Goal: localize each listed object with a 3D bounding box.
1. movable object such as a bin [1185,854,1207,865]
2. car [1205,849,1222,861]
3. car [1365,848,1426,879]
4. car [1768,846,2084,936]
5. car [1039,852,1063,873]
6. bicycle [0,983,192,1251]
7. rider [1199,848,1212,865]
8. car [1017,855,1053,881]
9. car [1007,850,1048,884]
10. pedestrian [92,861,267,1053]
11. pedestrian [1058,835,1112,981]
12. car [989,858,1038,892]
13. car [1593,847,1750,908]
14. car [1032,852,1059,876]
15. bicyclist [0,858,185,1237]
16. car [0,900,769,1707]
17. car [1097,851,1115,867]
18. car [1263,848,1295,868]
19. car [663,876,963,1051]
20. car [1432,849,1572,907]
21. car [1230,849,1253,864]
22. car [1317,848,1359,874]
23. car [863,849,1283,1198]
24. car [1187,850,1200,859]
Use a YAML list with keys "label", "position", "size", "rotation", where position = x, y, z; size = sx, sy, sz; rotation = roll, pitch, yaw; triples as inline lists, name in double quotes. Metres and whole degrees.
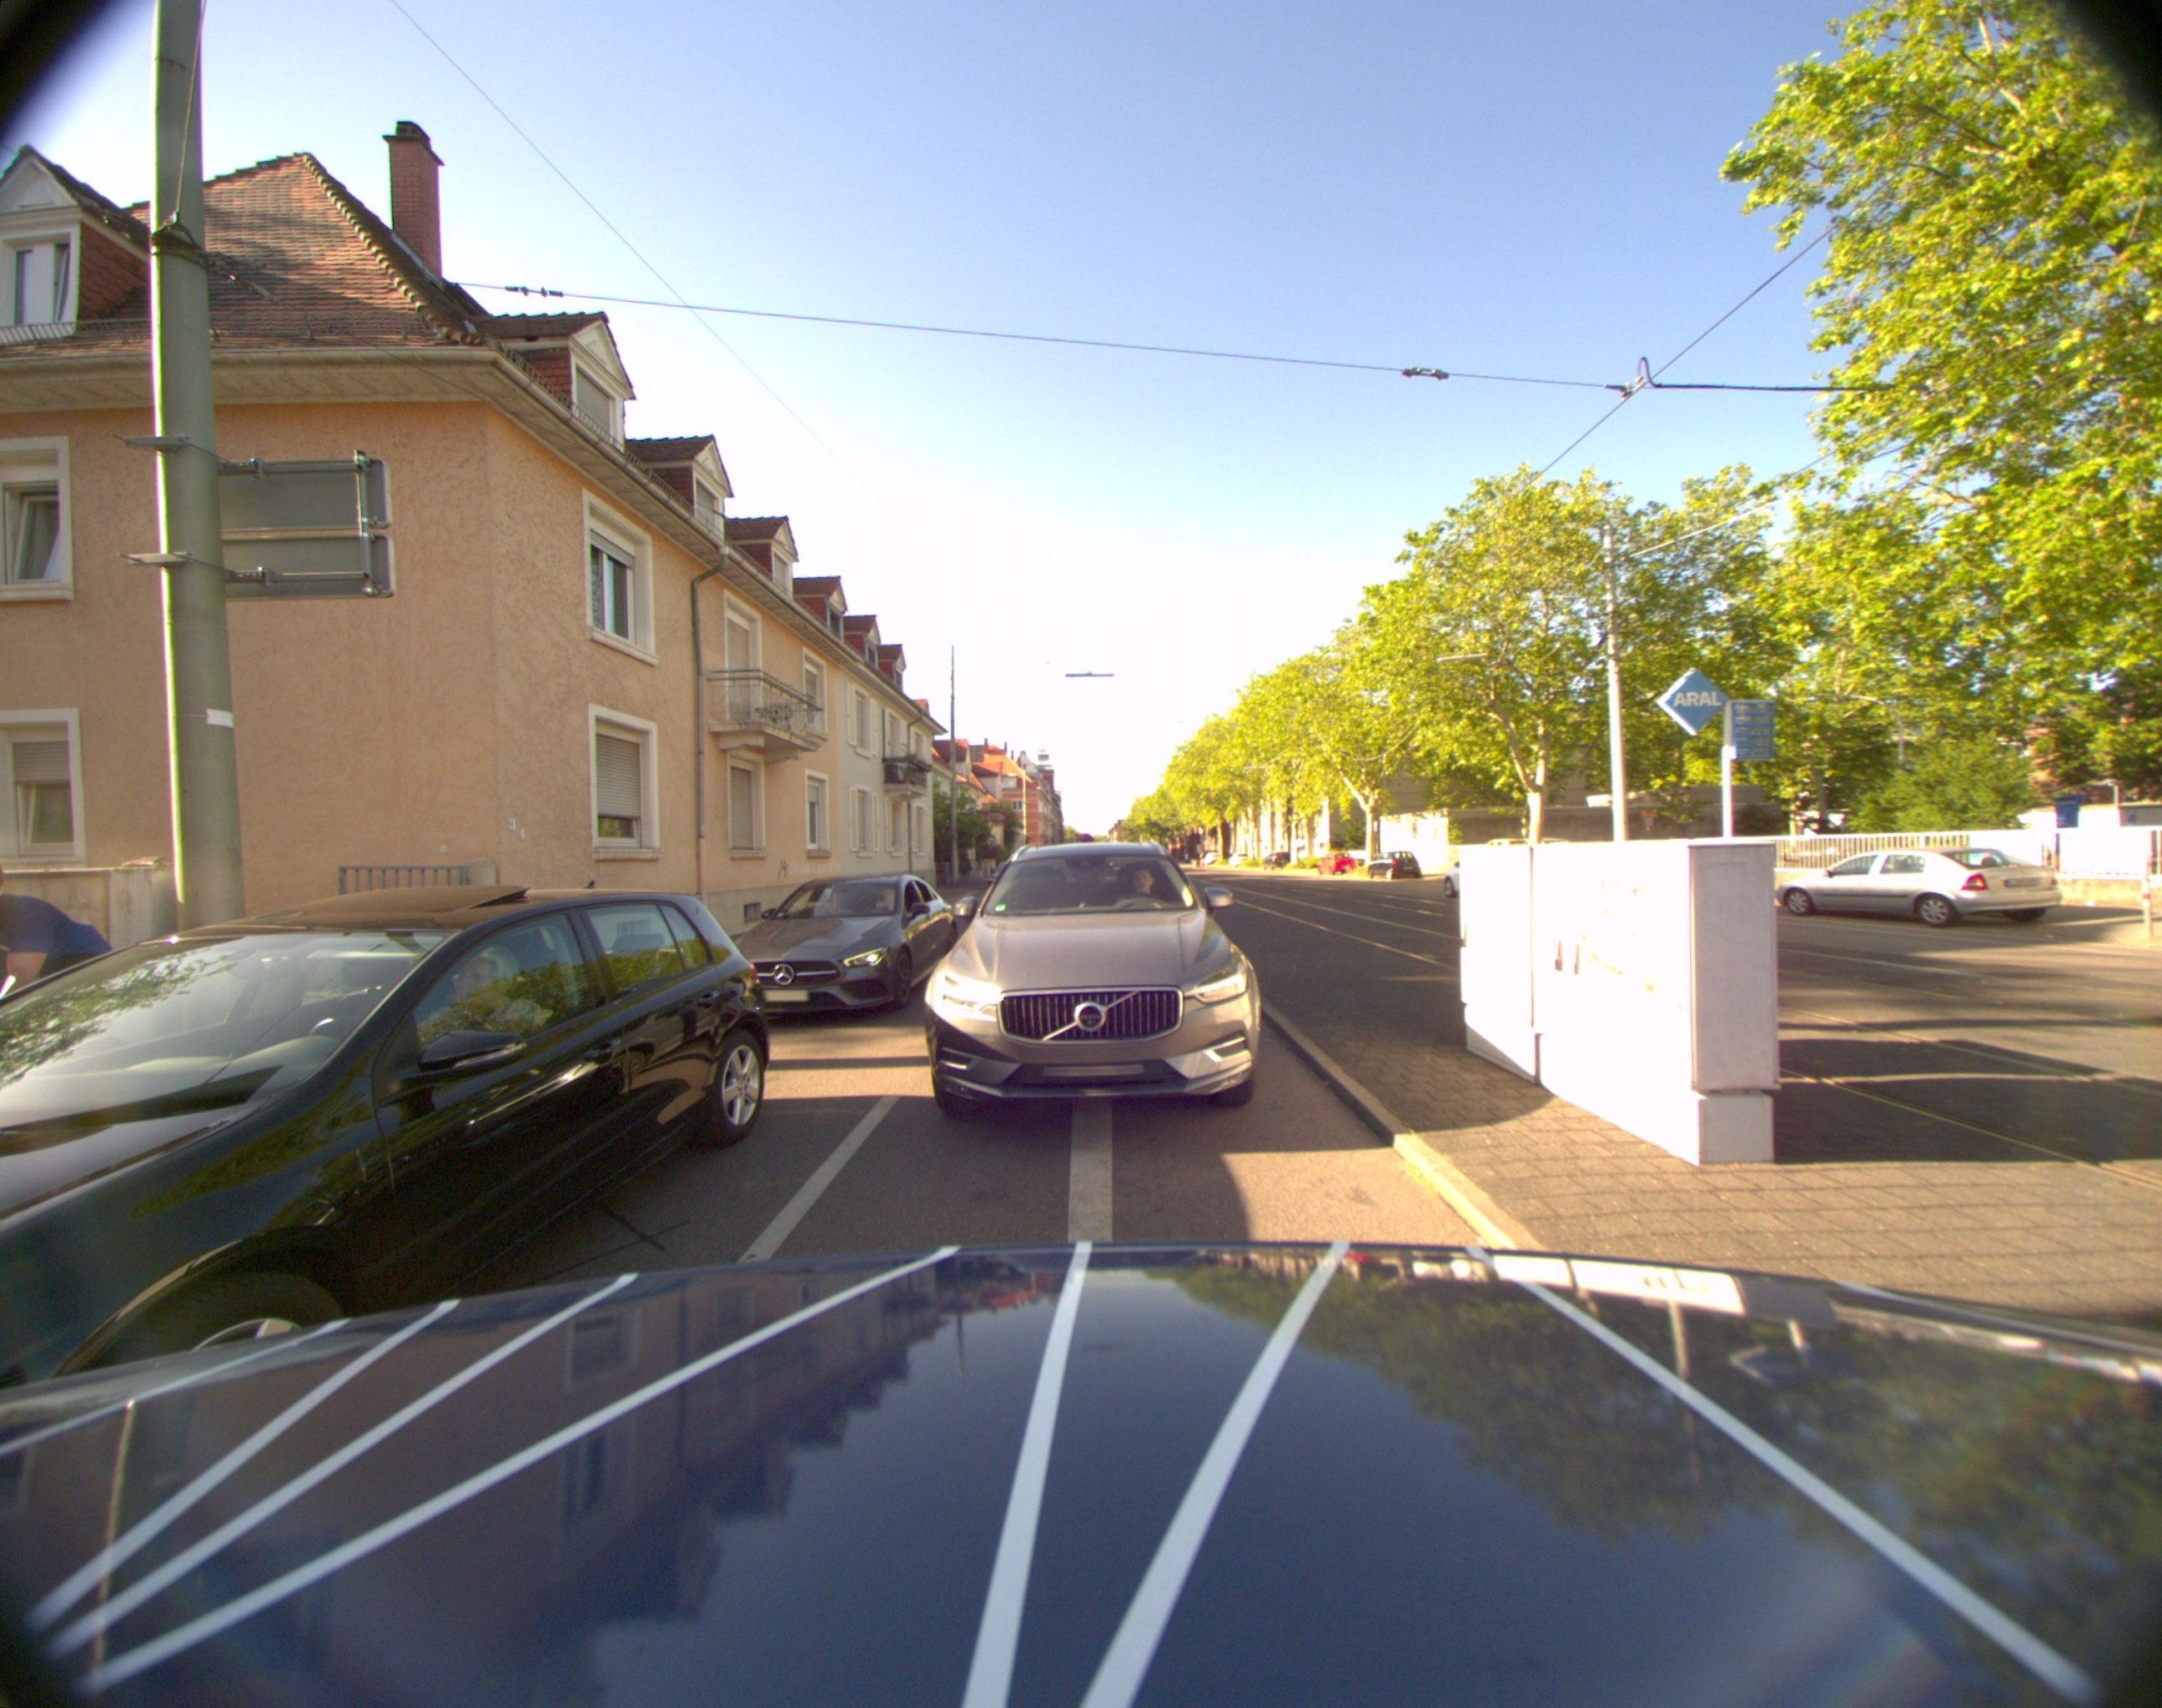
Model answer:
- label: "movable object such as a bin"
  position: [11.687, 0.546, 77.276]
  size: [1.180, 1.097, 1.830]
  rotation: [-3, 1, -35]
- label: "car"
  position: [17.560, 0.112, 100.664]
  size: [1.661, 1.452, 3.730]
  rotation: [-4, 1, 3]
- label: "car"
  position: [16.829, 0.452, 40.844]
  size: [1.723, 1.436, 3.769]
  rotation: [-4, 1, 3]
- label: "car"
  position: [16.191, 0.633, 14.935]
  size: [1.687, 1.358, 3.989]
  rotation: [-6, 0, 1]
- label: "car"
  position: [-2.607, 0.703, 67.260]
  size: [1.825, 1.701, 4.334]
  rotation: [-2, 1, 1]
- label: "bicycle"
  position: [-5.351, 1.303, 3.681]
  size: [0.556, 1.069, 1.622]
  rotation: [2, 0, -18]
- label: "rider"
  position: [12.490, 0.285, 76.172]
  size: [0.727, 1.639, 1.103]
  rotation: [-3, 1, -35]
- label: "car"
  position: [-2.788, 0.839, 47.000]
  size: [1.825, 1.424, 4.334]
  rotation: [-2, 1, 1]
- label: "car"
  position: [-2.917, 0.694, 42.375]
  size: [1.825, 1.701, 4.334]
  rotation: [-2, 1, 1]
- label: "pedestrian"
  position: [-8.073, 0.888, 6.832]
  size: [0.760, 1.596, 0.611]
  rotation: [4, 1, -2]
- label: "pedestrian"
  position: [0.058, 0.678, 9.887]
  size: [0.609, 1.832, 0.599]
  rotation: [-2, 1, 1]
- label: "car"
  position: [-3.240, 0.969, 37.120]
  size: [1.825, 1.422, 4.334]
  rotation: [-2, 1, 1]
- label: "car"
  position: [16.417, 0.599, 21.368]
  size: [1.619, 1.436, 3.606]
  rotation: [-4, 1, 3]
- label: "car"
  position: [-2.794, 0.781, 60.894]
  size: [1.825, 1.701, 4.334]
  rotation: [-2, 1, 1]
- label: "bicyclist"
  position: [-5.331, 0.878, 3.675]
  size: [1.022, 1.684, 0.728]
  rotation: [2, 0, -18]
- label: "car"
  position: [-2.808, 1.046, 2.623]
  size: [1.717, 1.430, 3.990]
  rotation: [-2, 1, 1]
- label: "car"
  position: [2.663, 0.513, 82.698]
  size: [1.851, 1.640, 3.999]
  rotation: [-2, 1, 1]
- label: "car"
  position: [17.130, 0.330, 65.939]
  size: [1.754, 1.582, 3.878]
  rotation: [-4, 1, 3]
- label: "car"
  position: [-2.724, 1.037, 8.977]
  size: [1.825, 1.422, 4.491]
  rotation: [-2, -1, 1]
- label: "car"
  position: [11.678, 0.606, 21.413]
  size: [1.742, 1.427, 3.935]
  rotation: [2, 1, 1]
- label: "car"
  position: [17.606, 0.255, 83.449]
  size: [1.754, 1.532, 3.878]
  rotation: [-4, 1, 3]
- label: "car"
  position: [16.904, 0.449, 50.045]
  size: [1.661, 1.486, 3.377]
  rotation: [-4, 1, 2]
- label: "car"
  position: [0.114, 0.801, 5.759]
  size: [1.924, 1.579, 4.387]
  rotation: [-2, 1, 4]
- label: "car"
  position: [18.536, 0.073, 125.492]
  size: [1.661, 1.452, 3.730]
  rotation: [-4, 1, 3]
